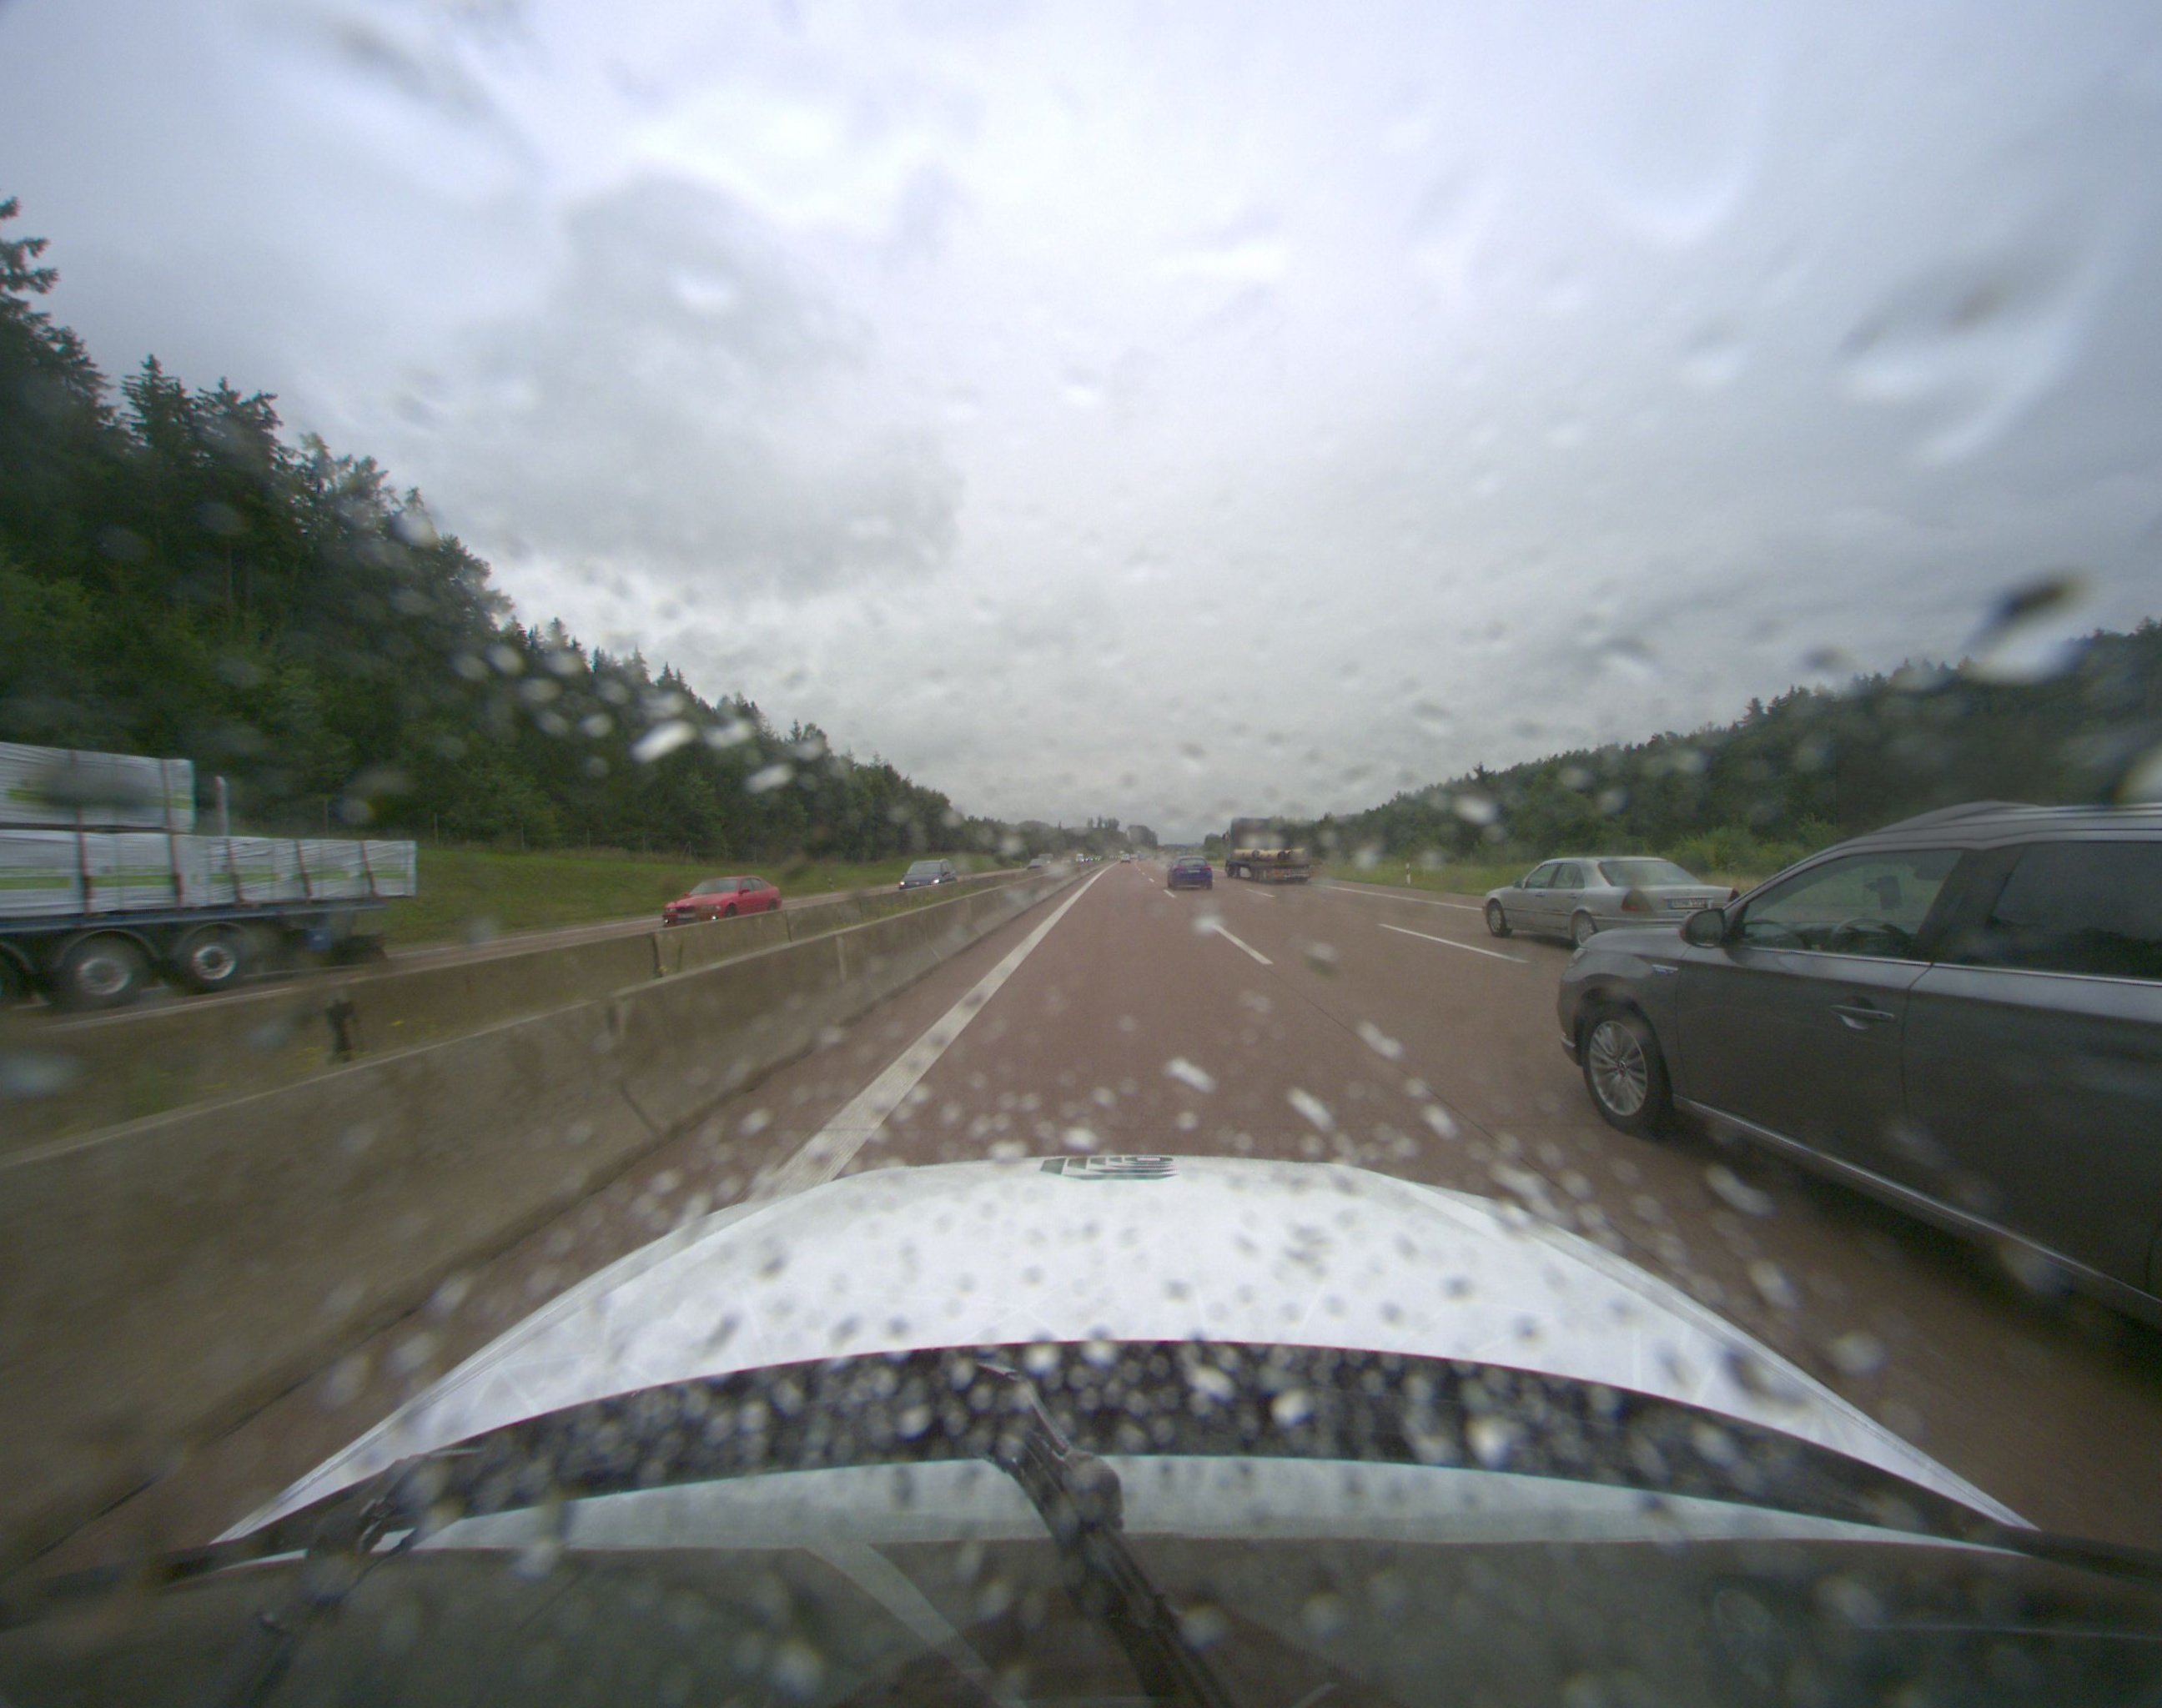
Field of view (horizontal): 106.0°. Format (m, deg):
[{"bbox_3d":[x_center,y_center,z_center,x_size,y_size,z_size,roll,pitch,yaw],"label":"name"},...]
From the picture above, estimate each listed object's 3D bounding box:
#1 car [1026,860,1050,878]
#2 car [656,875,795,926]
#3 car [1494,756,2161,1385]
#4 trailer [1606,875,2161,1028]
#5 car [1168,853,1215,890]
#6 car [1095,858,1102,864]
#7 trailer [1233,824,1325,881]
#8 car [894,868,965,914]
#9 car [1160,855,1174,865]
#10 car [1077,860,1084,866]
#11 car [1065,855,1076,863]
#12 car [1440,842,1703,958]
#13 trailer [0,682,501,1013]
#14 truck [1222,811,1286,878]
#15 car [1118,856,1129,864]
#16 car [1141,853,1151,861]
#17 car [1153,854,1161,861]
[{"bbox_3d":[-4.433,1.588,85.096,1.768,1.856,5.327,0,-1,4],"label":"car"},{"bbox_3d":[-10.538,1.323,24.629,1.812,1.369,5.116,0,-1,2],"label":"car"},{"bbox_3d":[3.756,0.559,2.717,1.986,1.593,5.822,0,-1,2],"label":"car"},{"bbox_3d":[8.353,0.894,9.263,1.963,1.166,4.642,0,0,3],"label":"trailer"},{"bbox_3d":[4.887,0.769,36.481,1.764,1.564,4.149,0,-1,3],"label":"car"},{"bbox_3d":[4.811,1.979,225.494,1.850,1.707,6.167,0,-1,3],"label":"car"},{"bbox_3d":[10.434,0.044,44.307,2.869,2.676,11.406,0,-1,3],"label":"trailer"},{"bbox_3d":[-6.538,1.545,35.941,1.812,1.842,6.239,0,-1,2],"label":"car"},{"bbox_3d":[14.796,1.054,140.367,2.313,1.750,4.880,0,-1,3],"label":"car"},{"bbox_3d":[-0.124,2.211,208.916,1.643,1.389,4.813,-4,0,2],"label":"car"},{"bbox_3d":[-2.115,1.003,168.226,1.781,1.557,4.869,-3,0,3],"label":"car"},{"bbox_3d":[8.063,0.702,14.068,1.691,1.611,4.979,-1,-1,2],"label":"car"},{"bbox_3d":[-15.319,0.007,12.502,2.923,4.275,12.949,-5,0,1],"label":"trailer"},{"bbox_3d":[10.848,-0.492,51.836,2.885,3.965,6.993,0,-1,3],"label":"truck"},{"bbox_3d":[8.033,1.204,155.301,1.867,1.444,4.877,0,-1,1],"label":"car"},{"bbox_3d":[16.216,0.794,203.944,2.313,1.750,4.880,0,-1,3],"label":"car"},{"bbox_3d":[21.089,0.956,225.969,1.985,2.014,4.002,0,-1,3],"label":"car"}]
